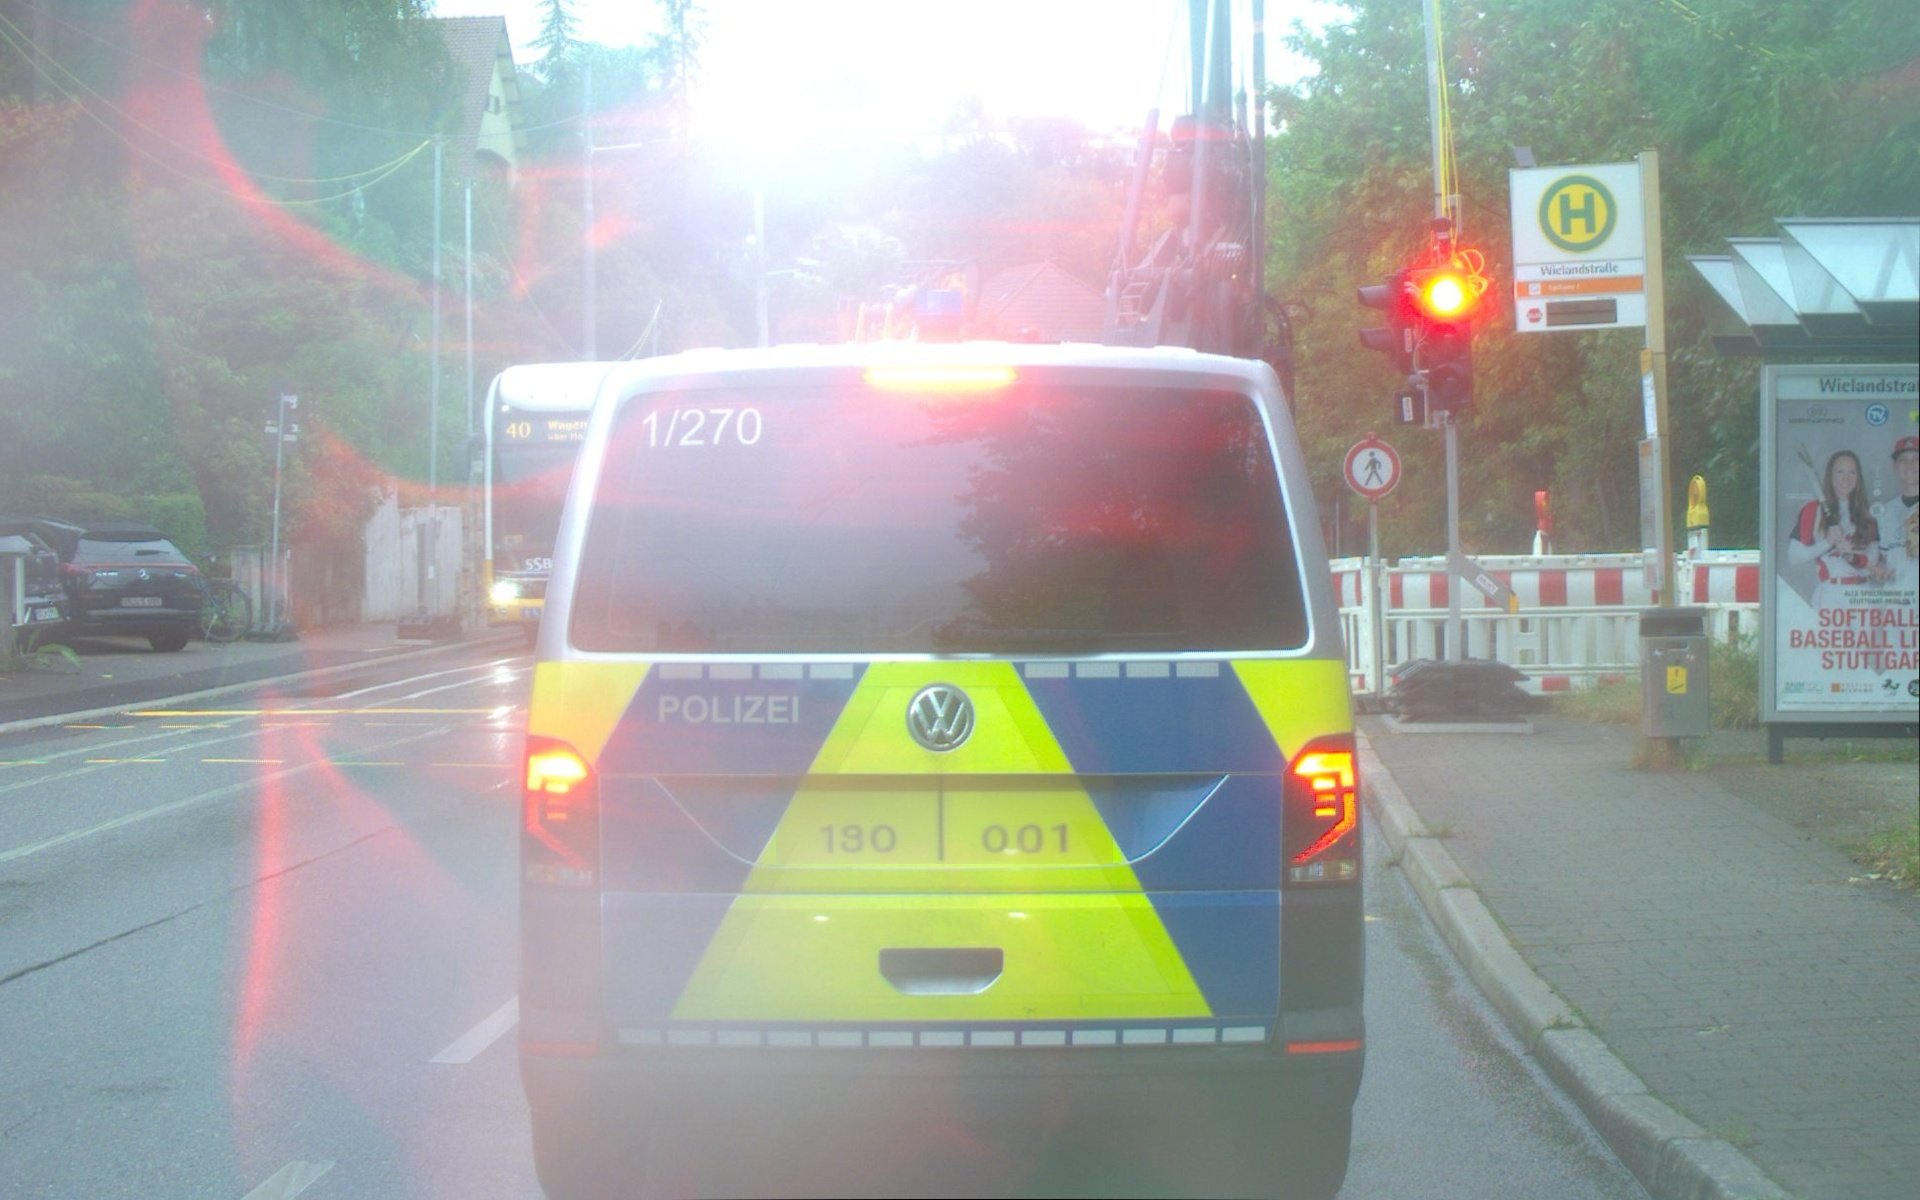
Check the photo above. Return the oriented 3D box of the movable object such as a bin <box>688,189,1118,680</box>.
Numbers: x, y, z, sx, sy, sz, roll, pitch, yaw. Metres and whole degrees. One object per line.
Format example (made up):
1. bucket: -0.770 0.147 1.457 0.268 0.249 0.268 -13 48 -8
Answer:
1. movable object such as a bin: -0.415 -1.465 31.624 2.832 4.163 4.378 1 1 15

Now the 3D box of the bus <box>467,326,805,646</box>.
1. bus: -4.067 -1.464 46.245 2.841 3.705 12.005 1 1 3

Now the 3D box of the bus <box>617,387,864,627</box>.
1. bus: -3.508 -1.540 58.192 2.841 3.612 12.005 1 1 3

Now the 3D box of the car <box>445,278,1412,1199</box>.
1. car: -0.087 0.355 8.825 1.893 2.043 4.000 1 1 -1

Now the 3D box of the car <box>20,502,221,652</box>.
1. car: -9.317 -0.285 37.968 1.765 1.481 3.743 1 3 -20

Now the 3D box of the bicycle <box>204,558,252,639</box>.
1. bicycle: -8.436 -0.026 39.585 0.462 0.894 1.634 0 1 -15
